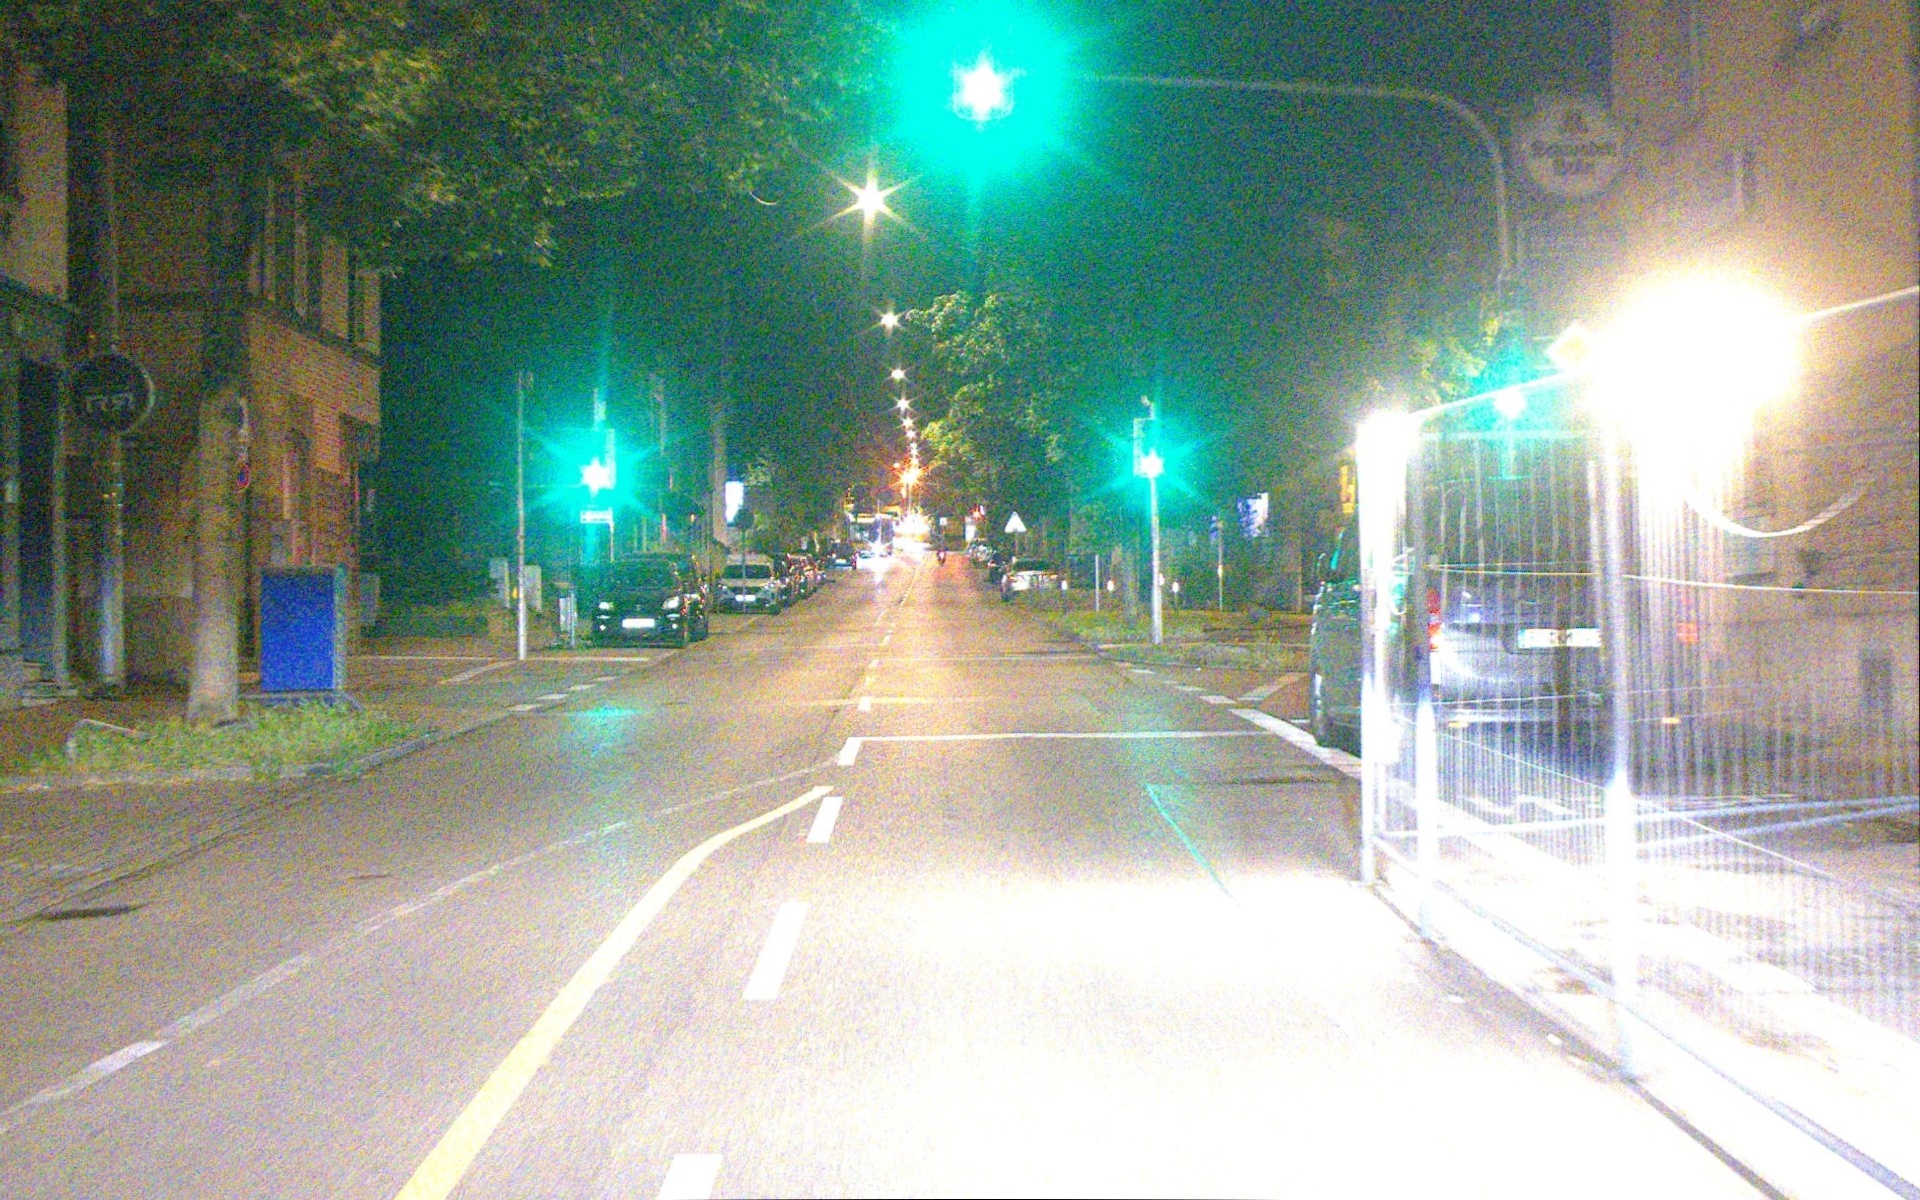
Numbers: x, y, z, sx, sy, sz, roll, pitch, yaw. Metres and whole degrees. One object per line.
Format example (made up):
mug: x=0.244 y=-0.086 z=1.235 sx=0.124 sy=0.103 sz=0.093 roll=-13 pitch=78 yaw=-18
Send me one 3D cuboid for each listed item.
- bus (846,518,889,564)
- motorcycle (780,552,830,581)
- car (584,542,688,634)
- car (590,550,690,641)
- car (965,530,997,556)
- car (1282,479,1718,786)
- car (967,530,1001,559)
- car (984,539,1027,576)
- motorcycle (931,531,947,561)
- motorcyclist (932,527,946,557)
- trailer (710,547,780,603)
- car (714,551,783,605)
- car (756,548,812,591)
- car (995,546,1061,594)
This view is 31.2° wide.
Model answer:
bus: x=-6.597 y=-4.282 z=246.164 sx=2.837 sy=3.166 sz=10.499 roll=0 pitch=2 yaw=0
motorcycle: x=-6.235 y=-1.346 z=138.259 sx=0.714 sy=1.143 sz=2.208 roll=-2 pitch=2 yaw=-43
car: x=-6.118 y=-0.256 z=65.361 sx=1.848 sy=1.644 sz=4.672 roll=0 pitch=1 yaw=-4
car: x=-5.526 y=-0.090 z=59.731 sx=1.647 sy=1.509 sz=3.703 roll=0 pitch=0 yaw=-4
car: x=1.292 y=-3.505 z=211.430 sx=1.868 sy=1.521 sz=4.150 roll=-2 pitch=2 yaw=0
car: x=3.484 y=0.155 z=23.127 sx=1.910 sy=1.820 sz=4.901 roll=-1 pitch=1 yaw=-3
car: x=1.385 y=-3.204 z=198.067 sx=1.812 sy=1.588 sz=4.274 roll=-2 pitch=2 yaw=0
car: x=1.972 y=-1.858 z=149.271 sx=1.763 sy=1.471 sz=4.080 roll=-2 pitch=2 yaw=0
motorcycle: x=-1.237 y=-3.198 z=203.585 sx=0.931 sy=1.746 sz=2.625 roll=0 pitch=0 yaw=0
motorcyclist: x=-1.239 y=-3.423 z=203.586 sx=0.848 sy=1.746 sz=0.805 roll=0 pitch=0 yaw=0
trailer: x=-6.355 y=-0.749 z=102.010 sx=1.638 sy=1.634 sz=3.439 roll=0 pitch=0 yaw=4
car: x=-5.969 y=-0.643 z=97.374 sx=1.814 sy=1.479 sz=4.348 roll=0 pitch=1 yaw=-2
car: x=-6.209 y=-1.095 z=121.810 sx=1.863 sy=1.486 sz=4.281 roll=0 pitch=0 yaw=-1
car: x=2.173 y=-0.962 z=110.834 sx=1.845 sy=1.412 sz=4.645 roll=-4 pitch=1 yaw=-1
